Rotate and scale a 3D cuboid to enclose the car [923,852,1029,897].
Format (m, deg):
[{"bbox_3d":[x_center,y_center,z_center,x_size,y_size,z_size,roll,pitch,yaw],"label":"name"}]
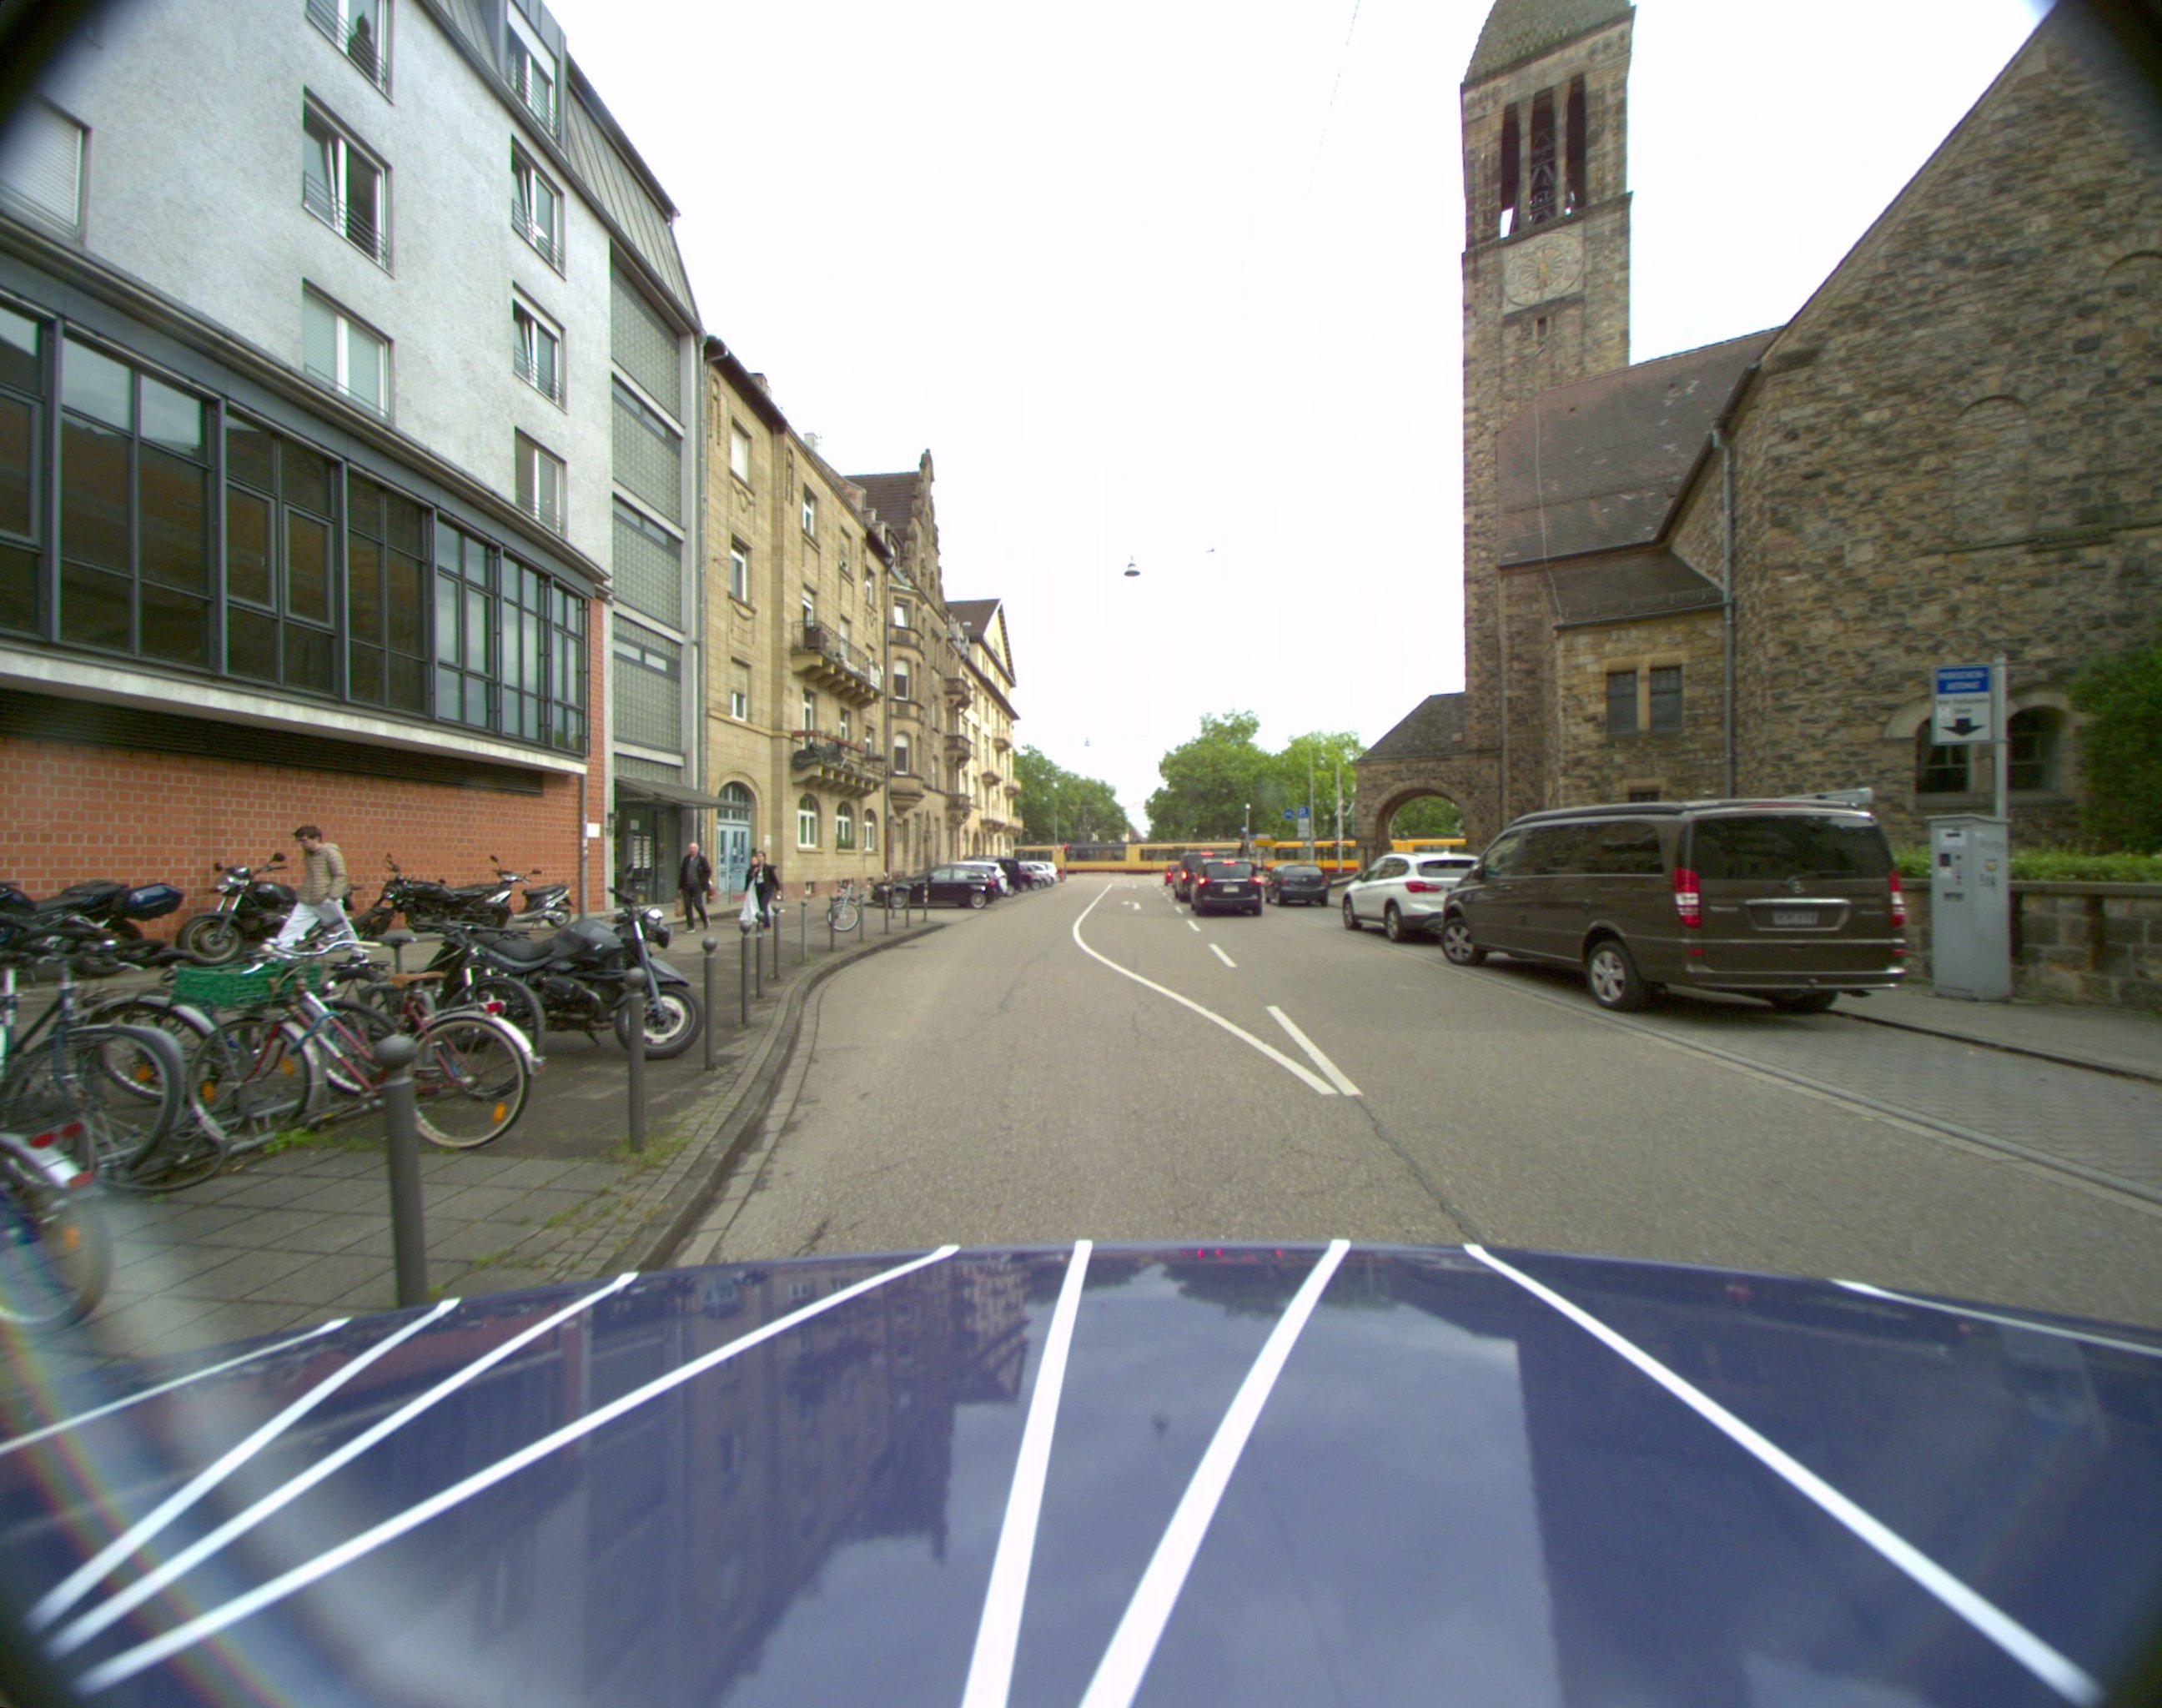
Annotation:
[{"bbox_3d":[-4.690,0.947,34.268,4.292,1.895,1.874,3,-1,-37],"label":"car"}]

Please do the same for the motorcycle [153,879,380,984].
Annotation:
[{"bbox_3d":[-10.325,0.927,9.774,0.602,1.137,2.071,0,0,4],"label":"motorcycle"}]

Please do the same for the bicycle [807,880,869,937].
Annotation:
[{"bbox_3d":[-5.295,1.156,16.511,0.731,1.097,1.732,1,0,-37],"label":"bicycle"}]

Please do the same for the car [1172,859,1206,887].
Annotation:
[{"bbox_3d":[6.141,1.068,43.628,1.606,1.448,3.719,1,1,3],"label":"car"}]

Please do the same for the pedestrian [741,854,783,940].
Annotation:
[{"bbox_3d":[-6.400,0.845,15.244,0.519,1.653,0.716,1,1,1],"label":"pedestrian"}]

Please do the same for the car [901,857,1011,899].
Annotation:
[{"bbox_3d":[-5.098,0.993,31.105,4.009,1.591,1.761,3,-2,-36],"label":"car"}]

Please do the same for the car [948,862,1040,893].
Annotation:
[{"bbox_3d":[-4.589,1.243,40.334,4.474,1.543,1.847,1,0,-35],"label":"car"}]

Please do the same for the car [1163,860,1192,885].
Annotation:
[{"bbox_3d":[6.271,1.210,49.718,1.652,1.519,3.895,1,-1,4],"label":"car"}]

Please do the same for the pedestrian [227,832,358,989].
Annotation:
[{"bbox_3d":[-9.278,0.637,8.972,0.631,1.743,0.811,2,0,1],"label":"pedestrian"}]

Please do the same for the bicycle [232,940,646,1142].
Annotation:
[{"bbox_3d":[-3.842,1.102,4.645,2.014,1.056,0.612,0,1,1],"label":"bicycle"}]

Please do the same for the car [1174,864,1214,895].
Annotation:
[{"bbox_3d":[5.458,1.192,36.972,1.708,1.279,4.044,1,0,6],"label":"car"}]

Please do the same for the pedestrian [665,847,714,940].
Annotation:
[{"bbox_3d":[-7.596,0.754,14.741,0.644,1.761,0.541,2,2,3],"label":"pedestrian"}]

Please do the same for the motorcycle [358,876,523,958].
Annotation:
[{"bbox_3d":[-9.946,0.932,11.886,0.601,1.137,1.886,1,0,29],"label":"motorcycle"}]

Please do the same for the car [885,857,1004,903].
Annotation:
[{"bbox_3d":[-5.135,0.979,28.579,4.006,1.524,1.928,3,-1,-25],"label":"car"}]

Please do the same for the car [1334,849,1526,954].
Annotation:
[{"bbox_3d":[6.384,0.803,14.525,1.847,1.678,4.434,-1,-1,4],"label":"car"}]

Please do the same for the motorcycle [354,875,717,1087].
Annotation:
[{"bbox_3d":[-3.972,0.895,5.660,2.139,1.421,0.770,0,1,1],"label":"motorcycle"}]

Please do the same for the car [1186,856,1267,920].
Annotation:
[{"bbox_3d":[4.166,0.912,22.398,1.849,1.674,4.550,-1,0,4],"label":"car"}]

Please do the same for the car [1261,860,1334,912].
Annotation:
[{"bbox_3d":[7.310,1.019,25.992,1.650,1.500,3.772,-2,1,4],"label":"car"}]

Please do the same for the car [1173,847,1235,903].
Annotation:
[{"bbox_3d":[4.707,0.775,29.726,1.916,1.943,5.286,-1,0,4],"label":"car"}]

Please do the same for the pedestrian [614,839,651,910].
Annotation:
[{"bbox_3d":[-11.220,0.500,19.018,0.541,1.734,0.568,-1,1,3],"label":"pedestrian"}]

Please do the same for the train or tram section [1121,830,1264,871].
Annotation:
[{"bbox_3d":[11.804,-0.330,81.995,14.997,4.070,3.588,0,1,30],"label":"train or tram section"}]

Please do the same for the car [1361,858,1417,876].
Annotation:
[{"bbox_3d":[24.914,1.085,61.487,3.989,1.387,1.884,-1,0,30],"label":"car"}]

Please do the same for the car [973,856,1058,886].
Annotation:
[{"bbox_3d":[-3.973,1.051,46.526,4.761,1.675,1.931,2,1,-32],"label":"car"}]

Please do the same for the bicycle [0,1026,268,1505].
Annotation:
[{"bbox_3d":[-3.619,1.086,2.194,1.888,1.037,0.612,0,1,1],"label":"bicycle"}]

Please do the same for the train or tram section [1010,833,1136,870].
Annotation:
[{"bbox_3d":[-1.159,-0.237,89.529,14.997,4.070,3.661,0,1,30],"label":"train or tram section"}]

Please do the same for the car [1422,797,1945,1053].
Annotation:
[{"bbox_3d":[5.895,0.586,8.581,2.018,2.002,5.185,-1,0,4],"label":"car"}]

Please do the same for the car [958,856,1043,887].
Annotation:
[{"bbox_3d":[-4.544,0.994,43.102,4.475,1.564,1.742,3,-1,-35],"label":"car"}]

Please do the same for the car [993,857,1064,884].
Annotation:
[{"bbox_3d":[-3.429,1.071,49.870,4.232,1.673,1.911,1,1,-30],"label":"car"}]

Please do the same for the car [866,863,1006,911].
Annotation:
[{"bbox_3d":[-4.876,1.118,25.644,4.268,1.469,1.681,3,-1,-29],"label":"car"}]

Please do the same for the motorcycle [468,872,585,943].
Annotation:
[{"bbox_3d":[-9.931,0.942,13.676,0.601,1.186,1.570,1,-2,27],"label":"motorcycle"}]

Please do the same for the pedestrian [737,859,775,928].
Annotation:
[{"bbox_3d":[-7.307,0.866,17.108,0.519,1.501,0.716,1,1,1],"label":"pedestrian"}]

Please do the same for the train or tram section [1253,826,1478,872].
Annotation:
[{"bbox_3d":[26.907,-0.415,73.210,19.893,4.070,3.634,0,1,30],"label":"train or tram section"}]

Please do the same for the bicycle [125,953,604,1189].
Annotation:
[{"bbox_3d":[-3.658,1.090,3.982,1.934,1.037,0.612,0,1,1],"label":"bicycle"}]

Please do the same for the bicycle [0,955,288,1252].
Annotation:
[{"bbox_3d":[-4.732,1.020,3.302,1.934,1.071,0.612,0,1,1],"label":"bicycle"}]

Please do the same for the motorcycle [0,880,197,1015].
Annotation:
[{"bbox_3d":[-10.460,0.889,7.412,1.030,1.195,2.210,1,0,4],"label":"motorcycle"}]
